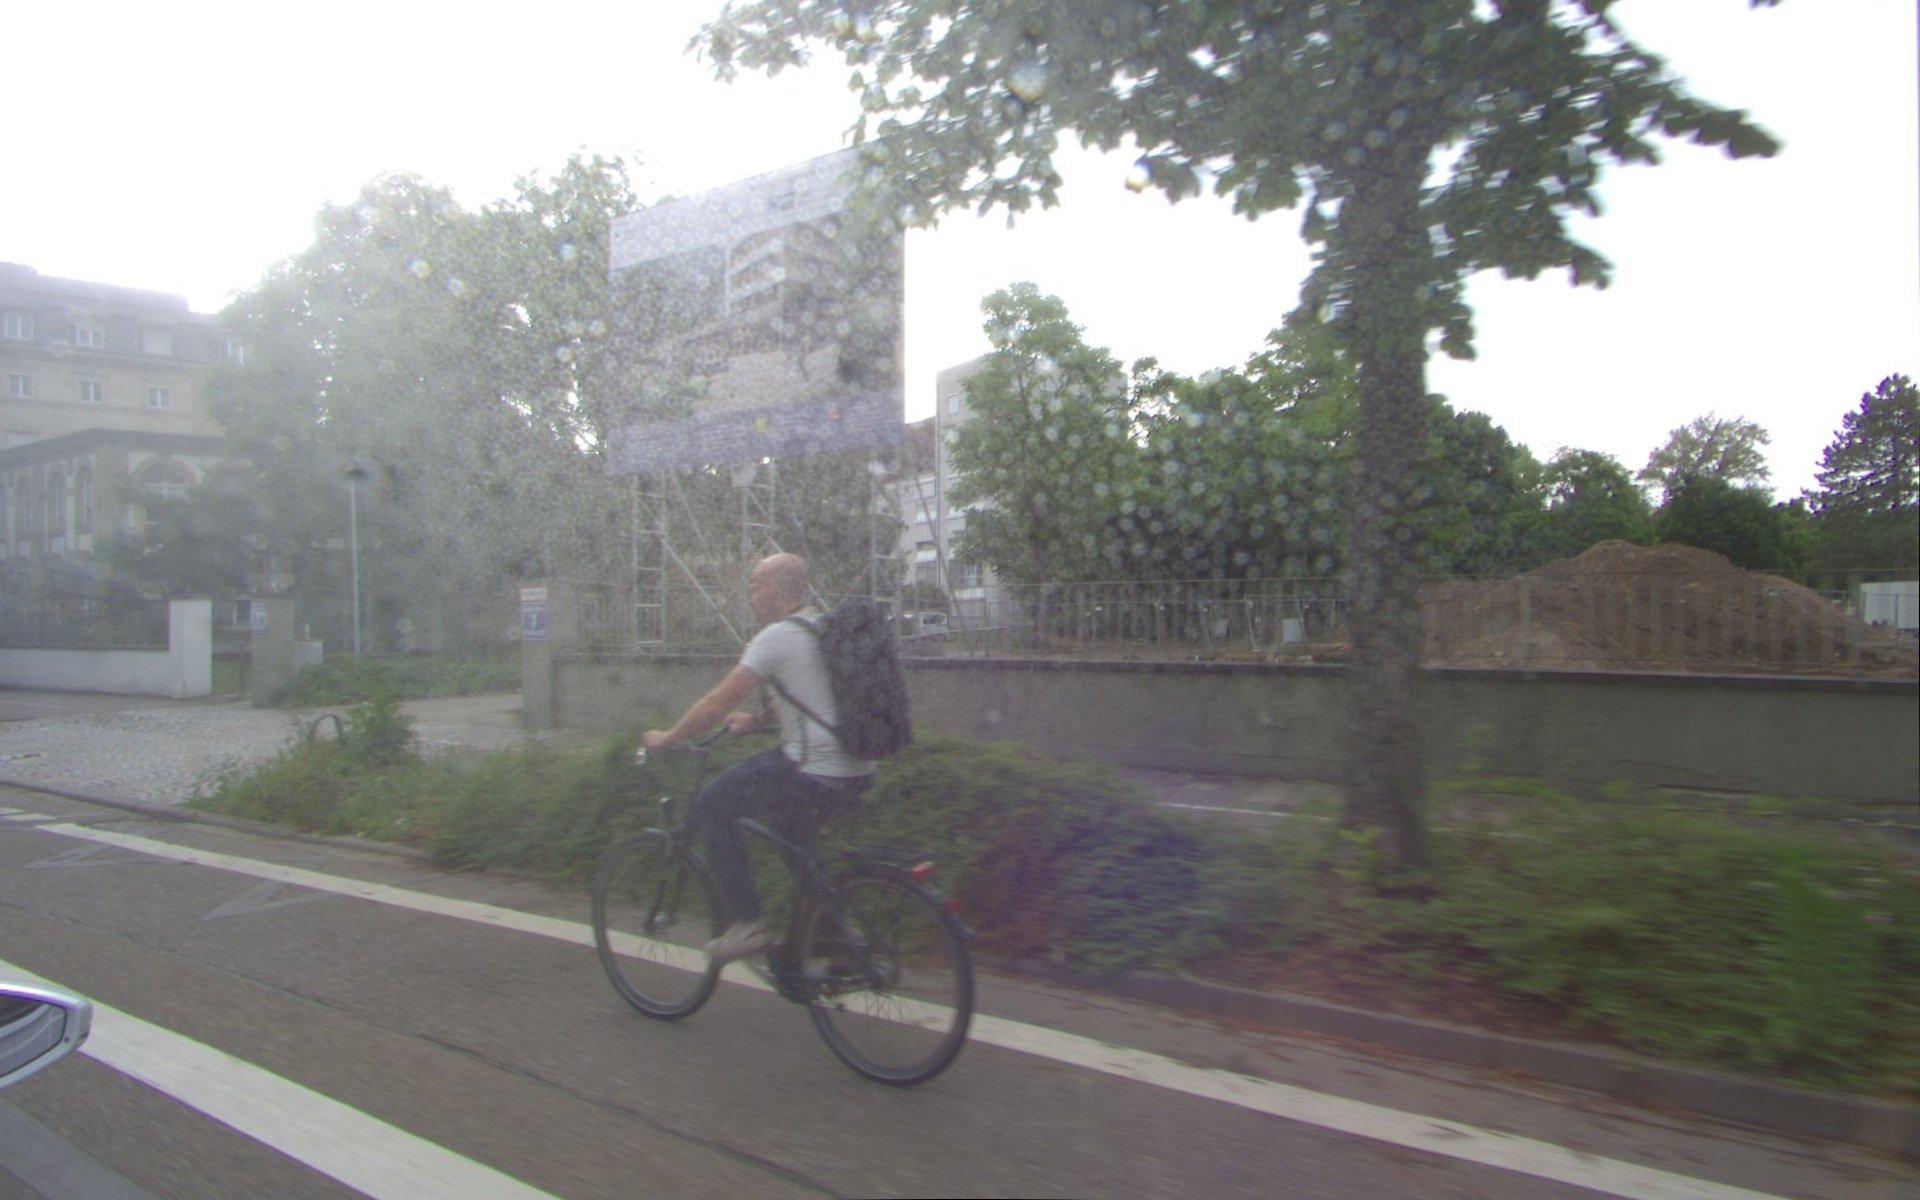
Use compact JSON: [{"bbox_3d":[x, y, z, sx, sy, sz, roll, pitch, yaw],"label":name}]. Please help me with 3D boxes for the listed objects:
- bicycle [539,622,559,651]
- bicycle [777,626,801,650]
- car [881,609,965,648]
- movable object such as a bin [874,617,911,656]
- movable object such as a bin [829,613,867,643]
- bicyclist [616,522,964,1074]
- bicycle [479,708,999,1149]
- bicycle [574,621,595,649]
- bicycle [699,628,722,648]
[{"bbox_3d":[-16.766,1.474,40.804,0.609,1.134,2.212,0,-1,-26],"label":"bicycle"},{"bbox_3d":[-7.959,1.762,46.522,0.391,1.079,1.816,0,-1,-34],"label":"bicycle"},{"bbox_3d":[-1.983,1.541,54.430,4.299,2.039,1.841,1,-2,-37],"label":"car"},{"bbox_3d":[-2.654,1.414,39.445,1.039,1.469,1.349,0,1,-24],"label":"movable object such as a bin"},{"bbox_3d":[-4.839,1.214,43.276,1.044,1.281,1.342,0,-1,-41],"label":"movable object such as a bin"},{"bbox_3d":[-0.572,0.586,3.427,0.971,1.590,0.661,0,-1,30],"label":"bicyclist"},{"bbox_3d":[-0.833,1.011,3.592,1.838,1.131,0.664,0,-2,30],"label":"bicycle"},{"bbox_3d":[-15.547,1.438,41.444,0.609,1.134,2.212,0,-1,-26],"label":"bicycle"},{"bbox_3d":[-11.054,1.681,44.397,0.609,0.824,1.937,0,-1,-26],"label":"bicycle"}]
